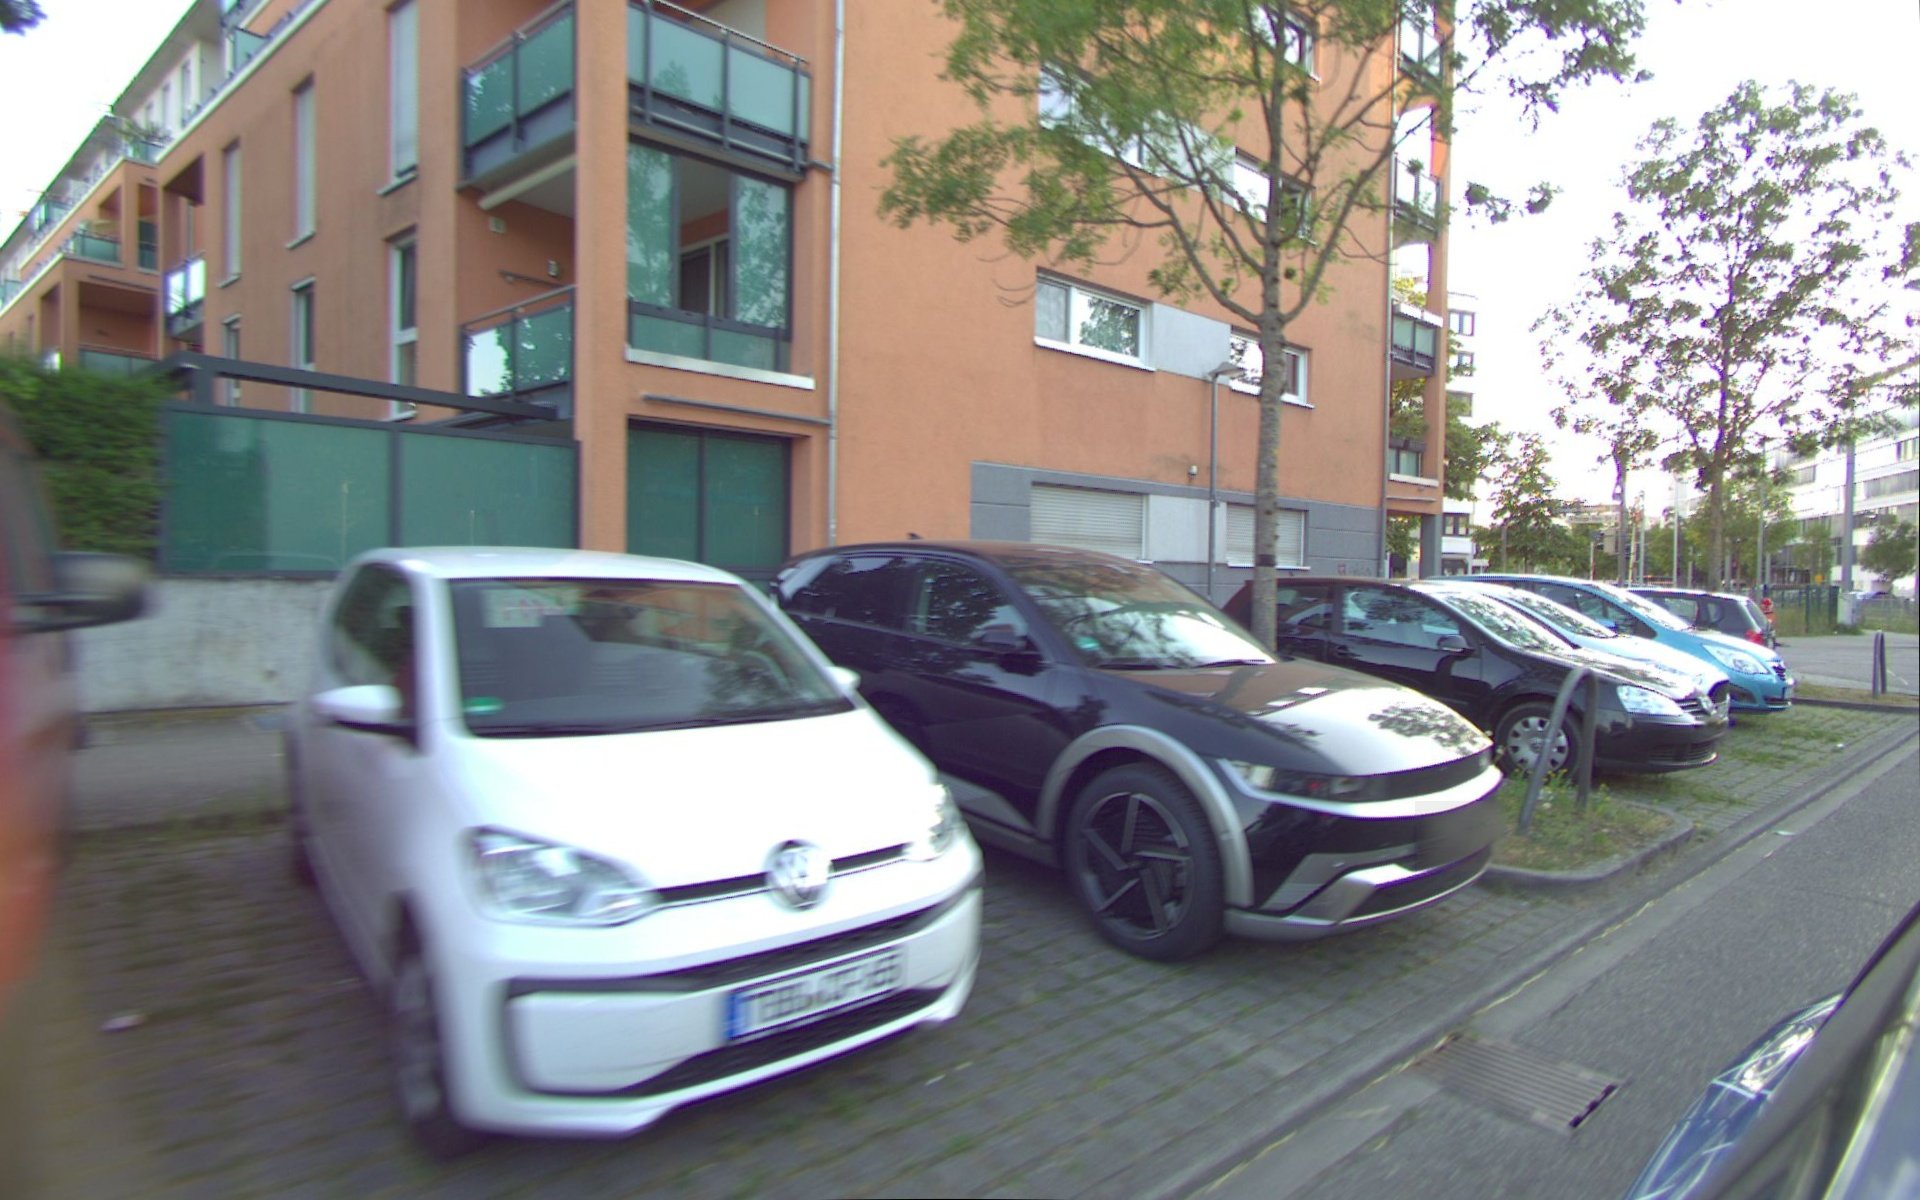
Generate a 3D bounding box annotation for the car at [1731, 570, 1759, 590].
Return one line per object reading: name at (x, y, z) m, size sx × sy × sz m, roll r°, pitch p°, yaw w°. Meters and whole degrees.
car at (105.660, -2.659, 136.253) m, size 1.977 × 2.617 × 3.971 m, roll 1°, pitch 1°, yaw 22°

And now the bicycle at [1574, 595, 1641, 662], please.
bicycle at (11.526, 0.499, 17.978) m, size 1.929 × 1.141 × 0.529 m, roll 2°, pitch -1°, yaw -42°

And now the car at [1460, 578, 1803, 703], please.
car at (9.272, 0.455, 14.173) m, size 1.587 × 1.491 × 3.752 m, roll 0°, pitch 2°, yaw -44°

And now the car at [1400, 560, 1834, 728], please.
car at (7.731, 0.377, 12.257) m, size 1.643 × 1.588 × 4.060 m, roll 0°, pitch 3°, yaw -39°

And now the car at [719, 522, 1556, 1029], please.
car at (0.492, 0.427, 5.381) m, size 1.760 × 1.588 × 4.227 m, roll 0°, pitch 4°, yaw -39°

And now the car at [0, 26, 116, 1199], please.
car at (-3.667, 0.156, 2.748) m, size 1.980 × 2.143 × 4.933 m, roll 0°, pitch 2°, yaw -38°

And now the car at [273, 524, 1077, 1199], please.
car at (-1.414, 0.500, 3.774) m, size 1.587 × 1.482 × 3.534 m, roll 0°, pitch 4°, yaw -39°

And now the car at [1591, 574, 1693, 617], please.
car at (33.883, -0.253, 50.416) m, size 3.963 × 2.039 × 1.981 m, roll 1°, pitch 1°, yaw 28°

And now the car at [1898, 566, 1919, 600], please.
car at (85.226, -1.450, 89.089) m, size 1.985 × 2.911 × 6.203 m, roll 3°, pitch 2°, yaw 25°

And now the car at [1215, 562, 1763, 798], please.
car at (4.192, 0.476, 8.515) m, size 1.512 × 1.514 × 3.782 m, roll 1°, pitch 1°, yaw -40°

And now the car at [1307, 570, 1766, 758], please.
car at (5.848, 0.500, 10.660) m, size 1.591 × 1.588 × 3.885 m, roll 0°, pitch 2°, yaw -39°

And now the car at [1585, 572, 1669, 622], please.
car at (28.226, -0.156, 42.777) m, size 3.931 × 2.039 × 1.997 m, roll 0°, pitch 1°, yaw -41°

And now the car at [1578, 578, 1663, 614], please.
car at (38.989, -0.248, 59.866) m, size 3.960 × 2.039 × 1.982 m, roll 1°, pitch 1°, yaw 26°

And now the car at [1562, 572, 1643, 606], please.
car at (39.376, -0.690, 62.165) m, size 3.960 × 2.038 × 1.983 m, roll 1°, pitch 1°, yaw 26°

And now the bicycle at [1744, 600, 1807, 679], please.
bicycle at (13.236, 0.626, 16.440) m, size 0.715 × 1.167 × 1.871 m, roll 4°, pitch 1°, yaw 39°

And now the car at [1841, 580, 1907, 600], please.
car at (68.302, -0.738, 75.638) m, size 3.916 × 1.393 × 1.722 m, roll 0°, pitch 1°, yaw -13°
